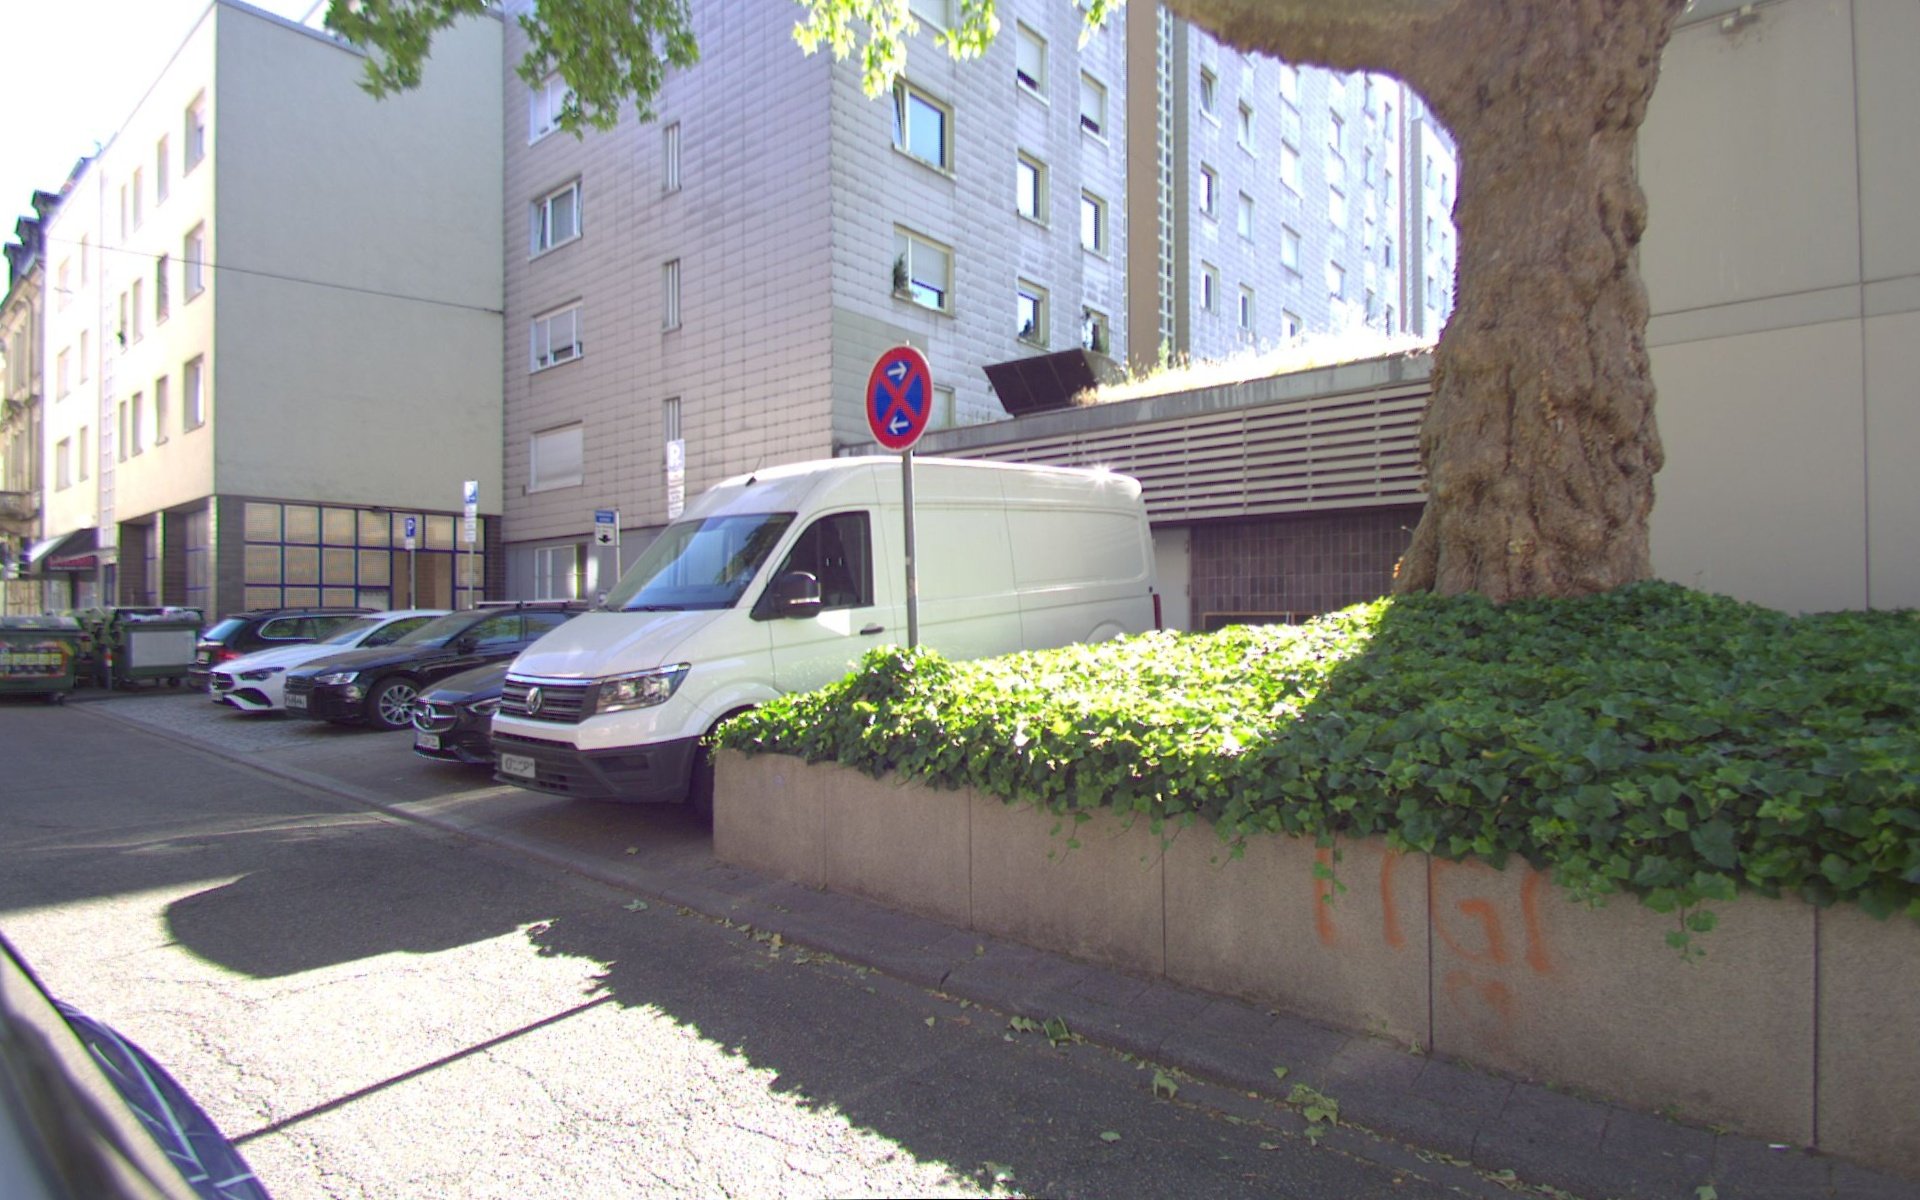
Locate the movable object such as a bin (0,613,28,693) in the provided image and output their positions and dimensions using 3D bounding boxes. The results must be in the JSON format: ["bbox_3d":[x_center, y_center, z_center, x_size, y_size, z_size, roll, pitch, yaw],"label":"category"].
[{"bbox_3d":[-18.785,1.008,19.327,1.558,1.512,1.207,-1,-1,38],"label":"movable object such as a bin"}]

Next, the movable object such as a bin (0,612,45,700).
[{"bbox_3d":[-17.442,0.986,18.140,1.923,1.512,1.231,-1,-1,38],"label":"movable object such as a bin"}]

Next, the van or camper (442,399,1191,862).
[{"bbox_3d":[-0.542,0.037,8.921,1.999,2.593,6.835,-2,1,41],"label":"van or camper"}]

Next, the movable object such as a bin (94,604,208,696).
[{"bbox_3d":[-14.098,0.840,17.643,1.193,1.512,1.312,-1,-1,38],"label":"movable object such as a bin"}]

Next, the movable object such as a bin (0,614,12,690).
[{"bbox_3d":[-20.018,1.037,20.322,1.558,1.512,1.207,-1,-1,38],"label":"movable object such as a bin"}]

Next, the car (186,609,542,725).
[{"bbox_3d":[-8.697,0.892,15.173,1.595,1.474,4.367,-2,-1,34],"label":"car"}]

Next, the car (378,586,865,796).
[{"bbox_3d":[-3.092,0.696,10.085,1.697,1.545,4.361,-1,1,39],"label":"car"}]

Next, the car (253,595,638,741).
[{"bbox_3d":[-6.665,0.791,13.611,1.694,1.629,4.367,-1,-1,34],"label":"car"}]

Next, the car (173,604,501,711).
[{"bbox_3d":[-10.166,0.869,16.868,1.694,1.545,4.367,-2,-1,34],"label":"car"}]

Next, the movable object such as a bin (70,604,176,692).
[{"bbox_3d":[-15.266,0.849,18.457,1.515,1.512,1.207,-1,-1,38],"label":"movable object such as a bin"}]

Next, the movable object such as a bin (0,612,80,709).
[{"bbox_3d":[-15.559,0.975,16.734,1.876,1.512,1.225,-1,-3,41],"label":"movable object such as a bin"}]
